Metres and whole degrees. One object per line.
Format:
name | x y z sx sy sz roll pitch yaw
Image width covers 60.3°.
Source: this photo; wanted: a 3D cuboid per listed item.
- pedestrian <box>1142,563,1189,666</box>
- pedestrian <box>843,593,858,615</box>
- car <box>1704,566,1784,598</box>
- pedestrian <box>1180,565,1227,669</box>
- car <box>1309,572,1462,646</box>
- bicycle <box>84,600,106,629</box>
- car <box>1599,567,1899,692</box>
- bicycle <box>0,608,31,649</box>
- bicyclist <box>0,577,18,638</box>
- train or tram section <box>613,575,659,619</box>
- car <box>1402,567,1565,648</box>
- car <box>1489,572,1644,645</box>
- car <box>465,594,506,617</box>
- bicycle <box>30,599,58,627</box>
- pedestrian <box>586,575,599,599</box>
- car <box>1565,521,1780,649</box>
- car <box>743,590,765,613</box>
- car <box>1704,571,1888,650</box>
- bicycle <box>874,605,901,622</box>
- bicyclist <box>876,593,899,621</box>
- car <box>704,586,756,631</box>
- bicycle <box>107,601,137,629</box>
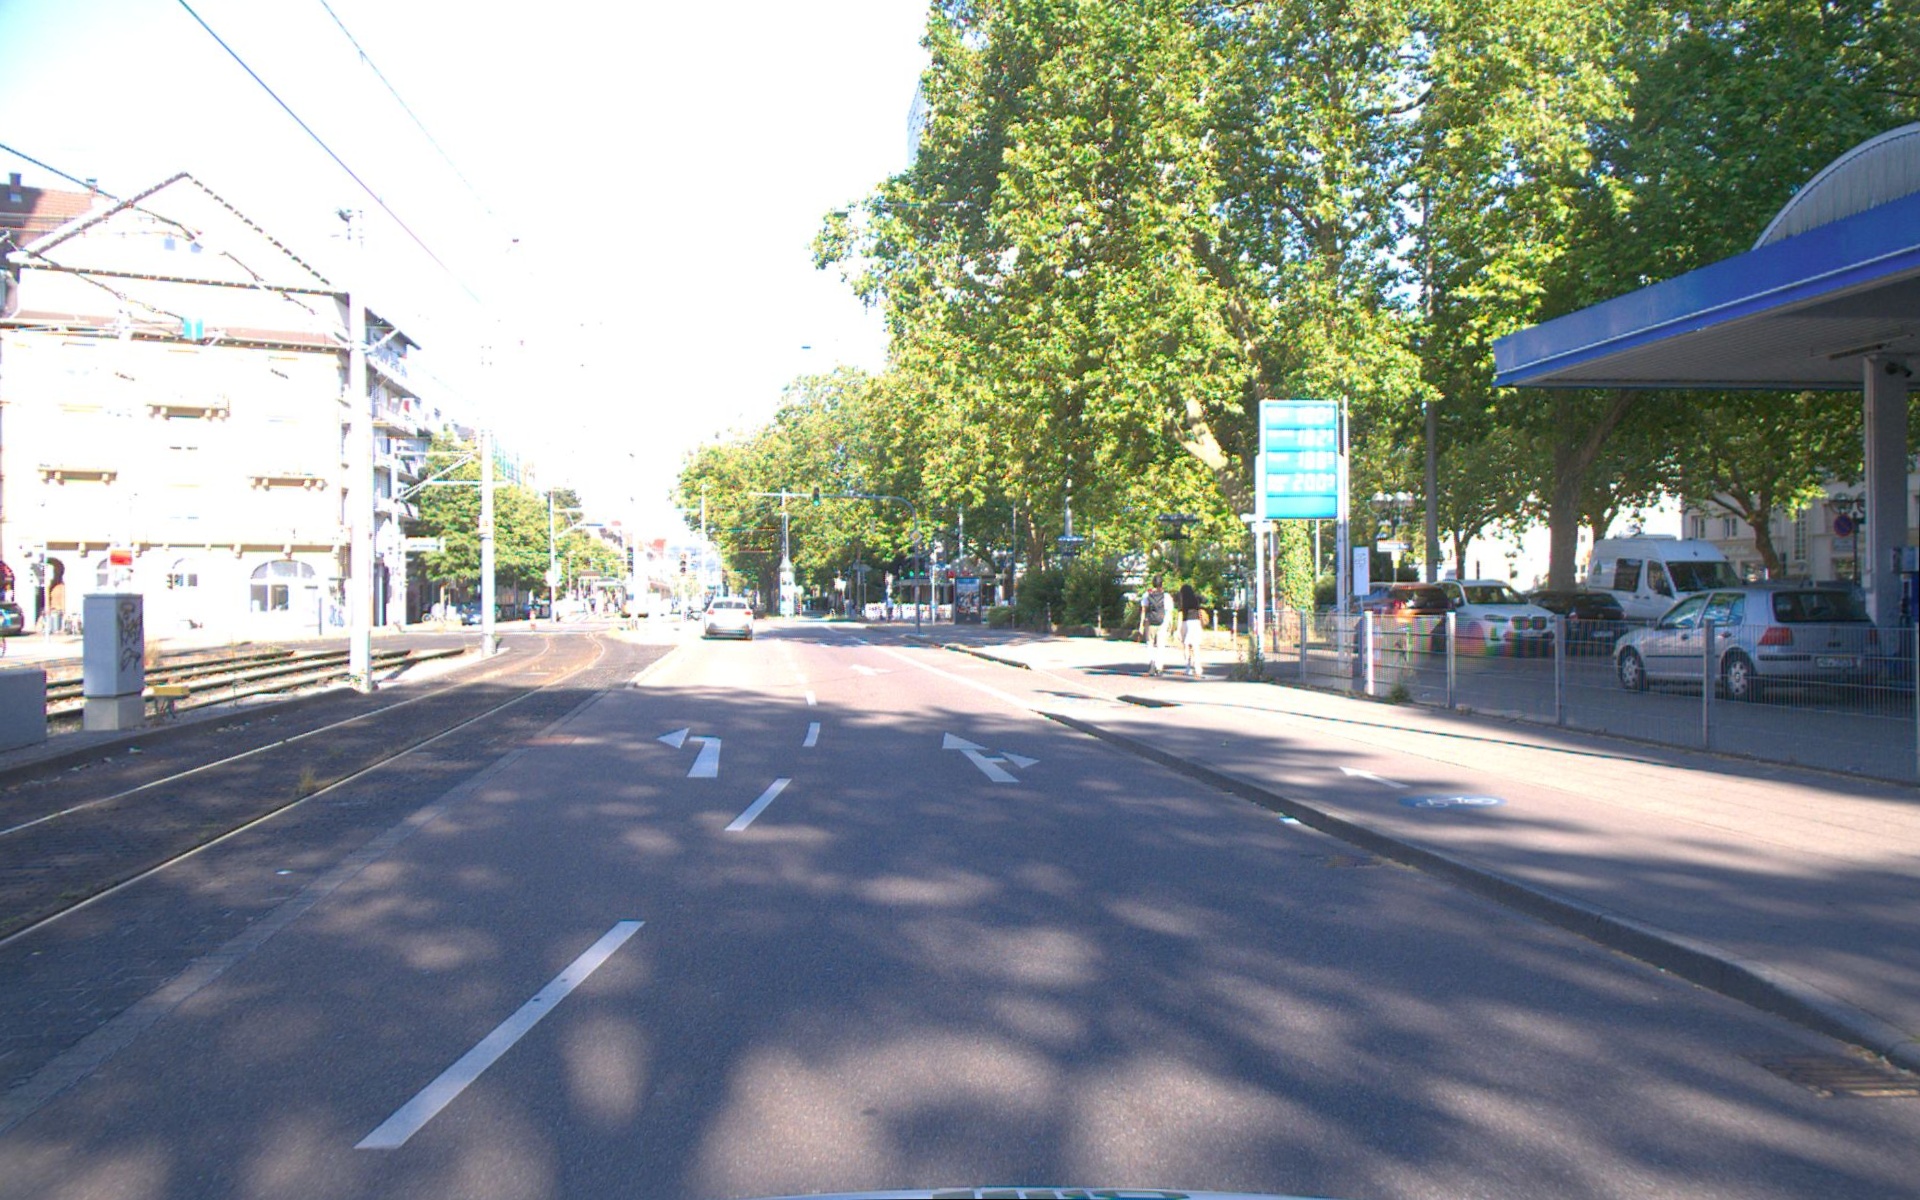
pedestrian | 3.708 0.256 29.926 0.591 1.807 0.878 -4 0 -4
pedestrian | -7.199 0.286 108.656 0.646 1.412 0.831 2 0 24
car | 46.205 -1.061 97.512 3.917 1.688 1.814 2 0 -12
pedestrian | 4.361 0.302 29.609 0.591 1.807 0.689 -4 0 -4
car | 9.990 0.157 39.216 1.784 1.630 4.651 0 1 -10
bicycle | -42.891 0.709 82.030 0.811 1.305 2.543 2 0 -26
car | 10.117 0.344 21.575 1.538 1.455 4.091 -1 0 -8
bicycle | -27.865 0.829 47.911 0.618 1.164 2.279 -2 0 -1
bicyclist | -27.887 0.232 47.912 0.619 1.753 0.915 -2 0 -1
train or tram section | -27.476 -0.276 140.658 2.896 3.470 10.774 2 0 -7
car | 12.158 0.110 38.766 1.825 1.765 4.791 0 1 -7
car | 14.298 0.160 39.205 1.825 1.597 3.994 0 1 -7
car | -31.957 0.359 111.524 1.956 1.474 4.833 0 0 -7
bicycle | -44.849 0.633 80.957 0.816 1.305 2.530 2 0 -38
pedestrian | -29.614 -1.030 133.135 0.946 1.865 0.986 2 0 -14
car | 17.231 -0.346 40.403 2.198 2.882 5.787 0 0 -7
car | -19.717 0.142 158.343 1.956 2.049 3.994 2 0 -7
car | 19.807 0.233 39.399 1.957 1.769 3.991 0 0 -9
bicycle | -4.499 0.828 102.588 1.178 0.951 2.565 2 0 -14
bicyclist | -4.503 0.428 102.655 1.179 1.726 0.901 2 0 -14
car | -8.195 0.280 58.931 1.713 1.487 3.637 2 0 -8
bicycle | -42.100 0.739 83.082 0.808 1.305 2.554 2 0 -16
